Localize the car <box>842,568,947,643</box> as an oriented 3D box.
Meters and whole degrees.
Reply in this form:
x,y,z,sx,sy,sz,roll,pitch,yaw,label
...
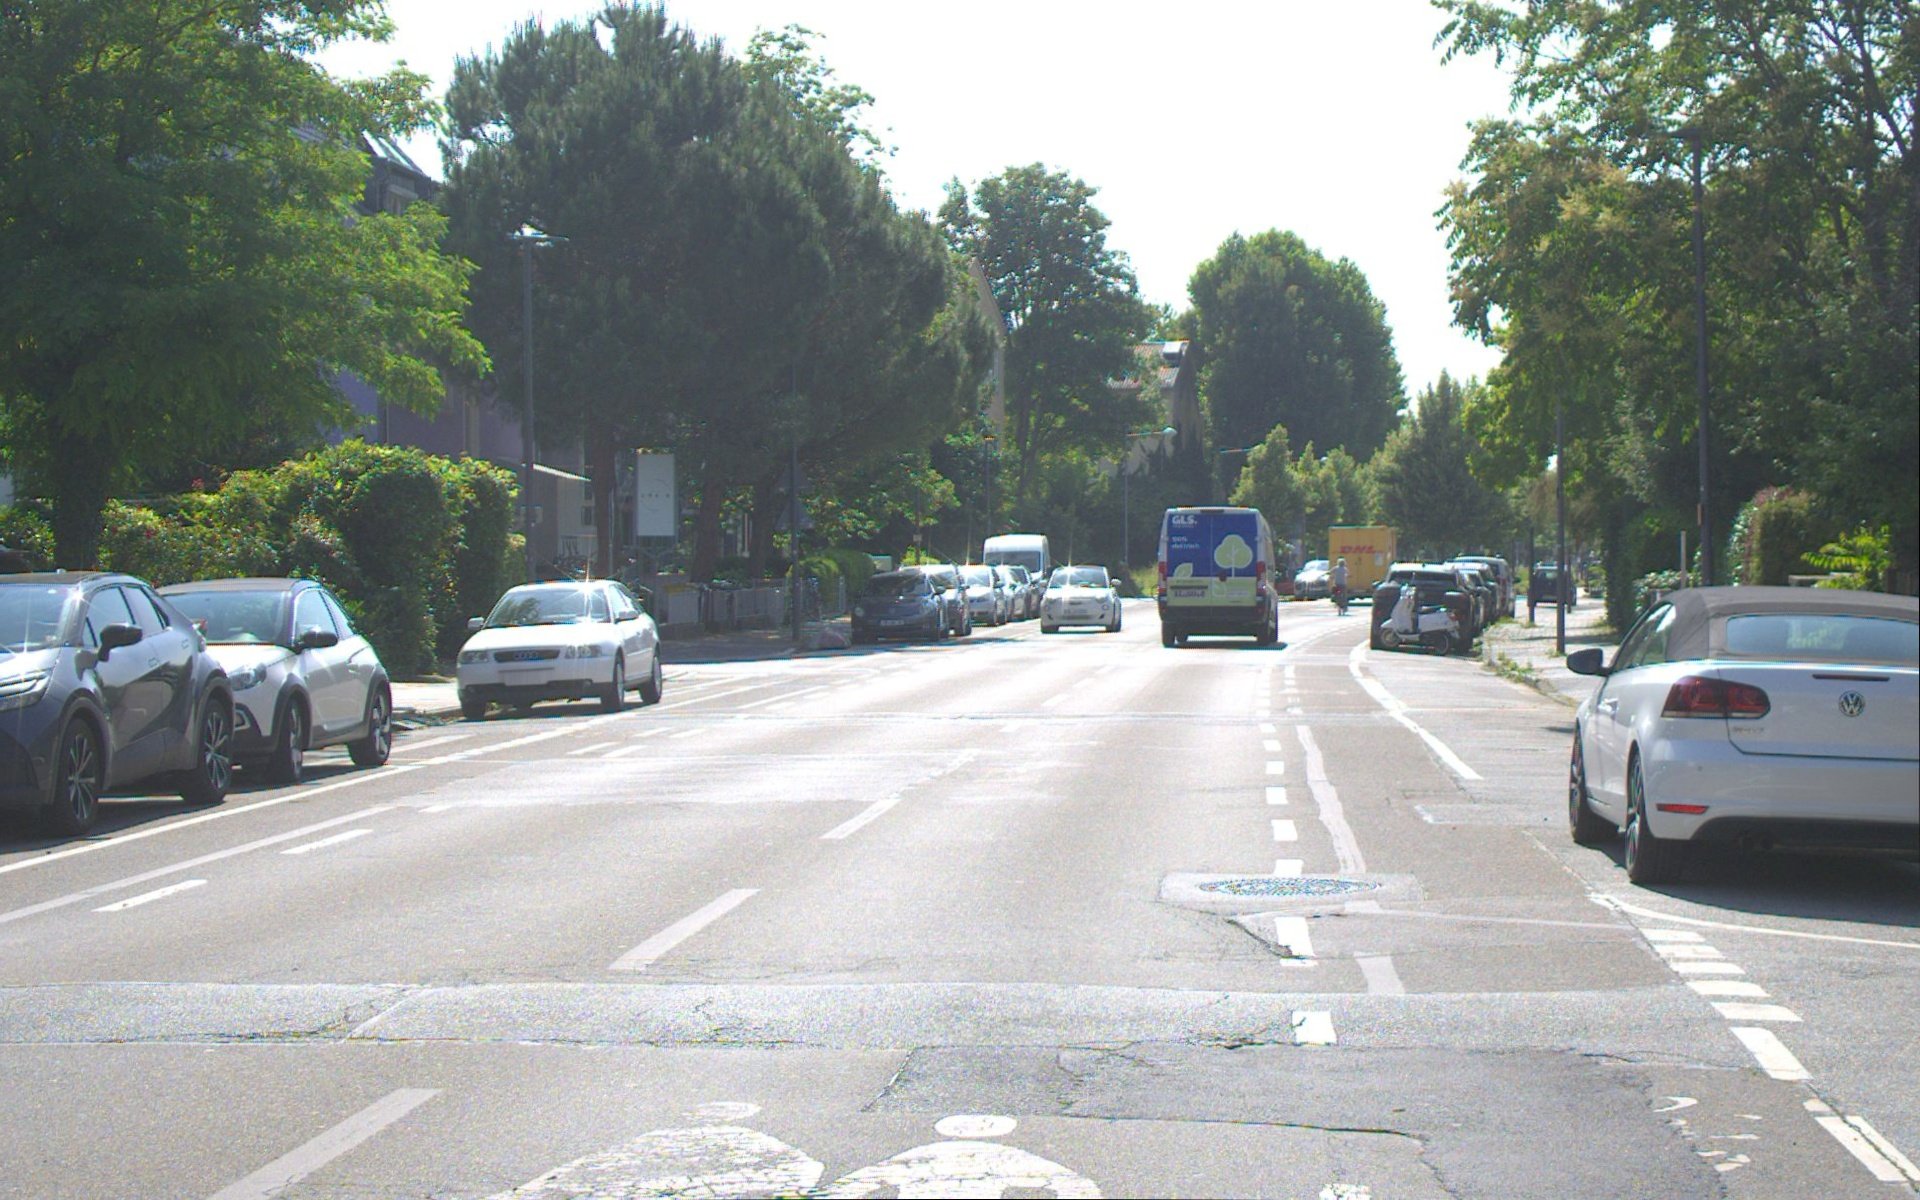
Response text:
x,y,z,sx,sy,sz,roll,pitch,yaw,label
-1.343,0.094,72.296,1.781,1.455,4.085,-2,0,4,car

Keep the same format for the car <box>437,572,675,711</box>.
x,y,z,sx,sy,sz,roll,pitch,yaw,label
-4.392,0.419,37.918,1.785,1.435,3.999,0,1,6,car

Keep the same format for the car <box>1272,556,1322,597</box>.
x,y,z,sx,sy,sz,roll,pitch,yaw,label
13.866,-0.956,141.241,1.994,1.652,4.603,0,0,6,car

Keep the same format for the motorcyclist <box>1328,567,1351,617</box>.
x,y,z,sx,sy,sz,roll,pitch,yaw,label
11.369,-0.235,103.032,0.672,1.513,0.652,0,0,7,motorcyclist

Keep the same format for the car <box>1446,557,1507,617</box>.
x,y,z,sx,sy,sz,roll,pitch,yaw,label
14.759,-0.367,98.327,1.701,1.671,3.773,0,0,8,car

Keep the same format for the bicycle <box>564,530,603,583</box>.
x,y,z,sx,sy,sz,roll,pitch,yaw,label
-8.637,-1.003,78.881,0.537,1.177,1.446,0,2,8,bicycle

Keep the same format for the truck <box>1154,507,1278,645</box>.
x,y,z,sx,sy,sz,roll,pitch,yaw,label
4.949,-0.442,65.898,2.273,2.563,4.391,0,0,5,truck

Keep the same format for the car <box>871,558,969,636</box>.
x,y,z,sx,sy,sz,roll,pitch,yaw,label
-0.873,-0.092,78.103,1.909,1.671,4.258,-2,1,3,car

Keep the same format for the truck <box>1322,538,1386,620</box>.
x,y,z,sx,sy,sz,roll,pitch,yaw,label
14.385,-0.758,125.836,2.214,2.936,5.685,0,0,5,truck

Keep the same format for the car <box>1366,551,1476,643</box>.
x,y,z,sx,sy,sz,roll,pitch,yaw,label
8.720,-0.066,64.769,1.785,1.632,4.468,2,1,11,car

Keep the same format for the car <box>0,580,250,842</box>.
x,y,z,sx,sy,sz,roll,pitch,yaw,label
-5.884,0.618,21.087,1.785,1.435,4.110,-1,0,6,car

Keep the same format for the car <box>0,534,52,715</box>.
x,y,z,sx,sy,sz,roll,pitch,yaw,label
-11.281,0.231,34.022,3.988,1.753,2.000,0,1,6,car

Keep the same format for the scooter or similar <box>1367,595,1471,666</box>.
x,y,z,sx,sy,sz,roll,pitch,yaw,label
8.285,0.546,62.095,0.718,1.150,1.797,3,1,-40,scooter or similar

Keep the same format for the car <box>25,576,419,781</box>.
x,y,z,sx,sy,sz,roll,pitch,yaw,label
-5.501,0.538,26.138,1.785,1.435,3.999,0,0,6,car

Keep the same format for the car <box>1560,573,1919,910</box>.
x,y,z,sx,sy,sz,roll,pitch,yaw,label
4.101,0.619,17.103,1.740,1.397,4.073,3,1,4,car

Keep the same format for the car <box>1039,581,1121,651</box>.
x,y,z,sx,sy,sz,roll,pitch,yaw,label
2.796,0.372,79.527,1.732,1.536,3.999,-1,0,4,car

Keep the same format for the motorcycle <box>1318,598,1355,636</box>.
x,y,z,sx,sy,sz,roll,pitch,yaw,label
11.314,0.502,103.360,1.056,1.119,2.991,0,0,6,motorcycle

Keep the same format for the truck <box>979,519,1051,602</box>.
x,y,z,sx,sy,sz,roll,pitch,yaw,label
1.746,-1.216,107.226,2.081,2.529,5.466,0,0,3,truck

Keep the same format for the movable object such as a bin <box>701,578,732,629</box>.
x,y,z,sx,sy,sz,roll,pitch,yaw,label
-5.316,0.073,74.964,0.544,1.107,0.584,0,0,11,movable object such as a bin

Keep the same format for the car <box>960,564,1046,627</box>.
x,y,z,sx,sy,sz,roll,pitch,yaw,label
1.142,-0.095,88.791,1.835,1.590,3.774,0,0,7,car

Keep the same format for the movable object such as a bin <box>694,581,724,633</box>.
x,y,z,sx,sy,sz,roll,pitch,yaw,label
-5.427,0.152,74.342,0.544,1.107,0.518,0,0,11,movable object such as a bin
